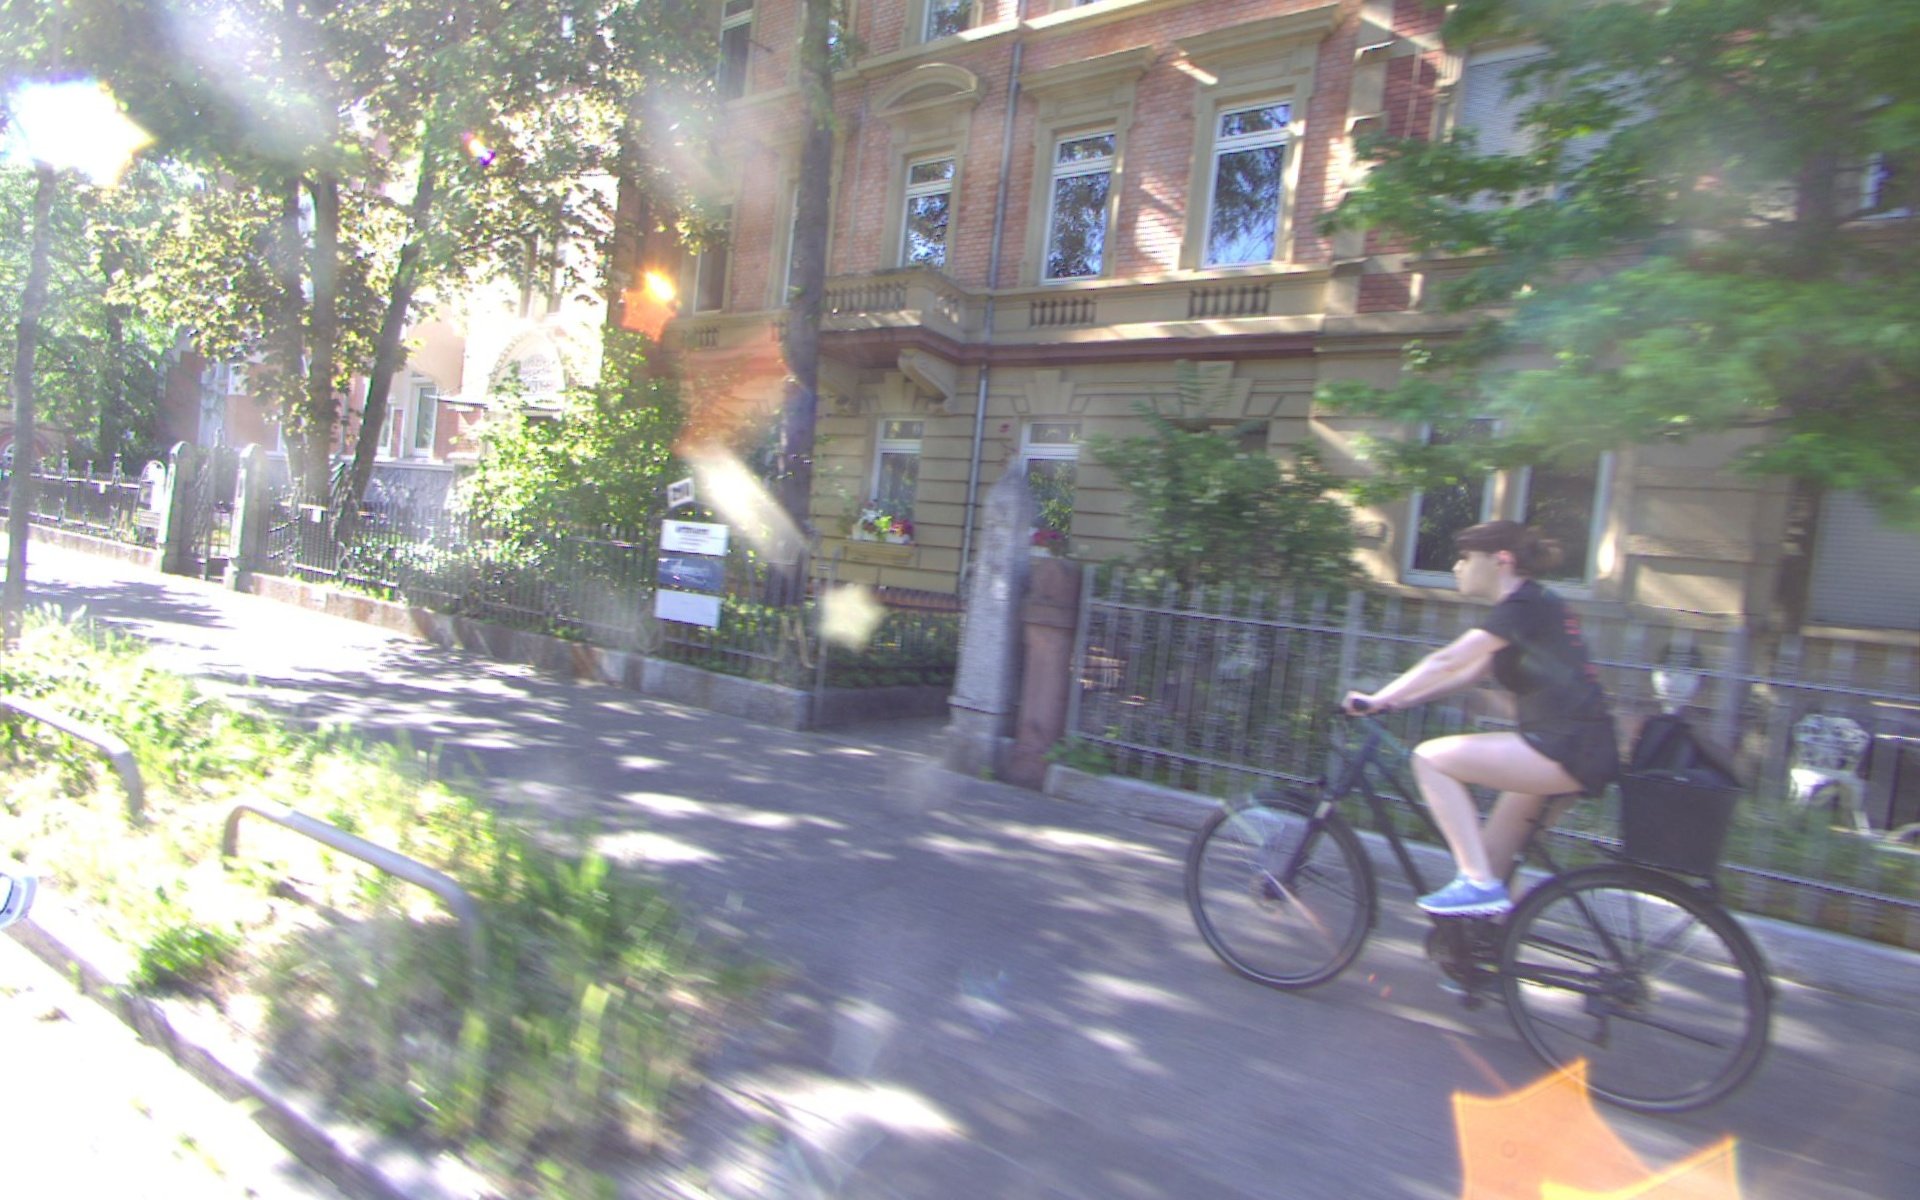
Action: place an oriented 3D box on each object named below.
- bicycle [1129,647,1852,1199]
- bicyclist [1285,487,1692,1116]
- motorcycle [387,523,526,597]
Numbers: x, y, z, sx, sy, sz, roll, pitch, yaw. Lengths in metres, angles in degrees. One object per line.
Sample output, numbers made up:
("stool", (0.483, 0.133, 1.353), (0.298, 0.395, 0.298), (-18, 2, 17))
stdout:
("bicycle", (1.581, 0.884, 3.322), (1.812, 1.193, 0.652), (7, 5, 30))
("bicyclist", (1.667, 0.549, 3.262), (0.874, 1.720, 0.645), (8, 6, 30))
("motorcycle", (-8.278, -0.644, 16.604), (0.771, 1.045, 1.869), (6, 2, 43))
